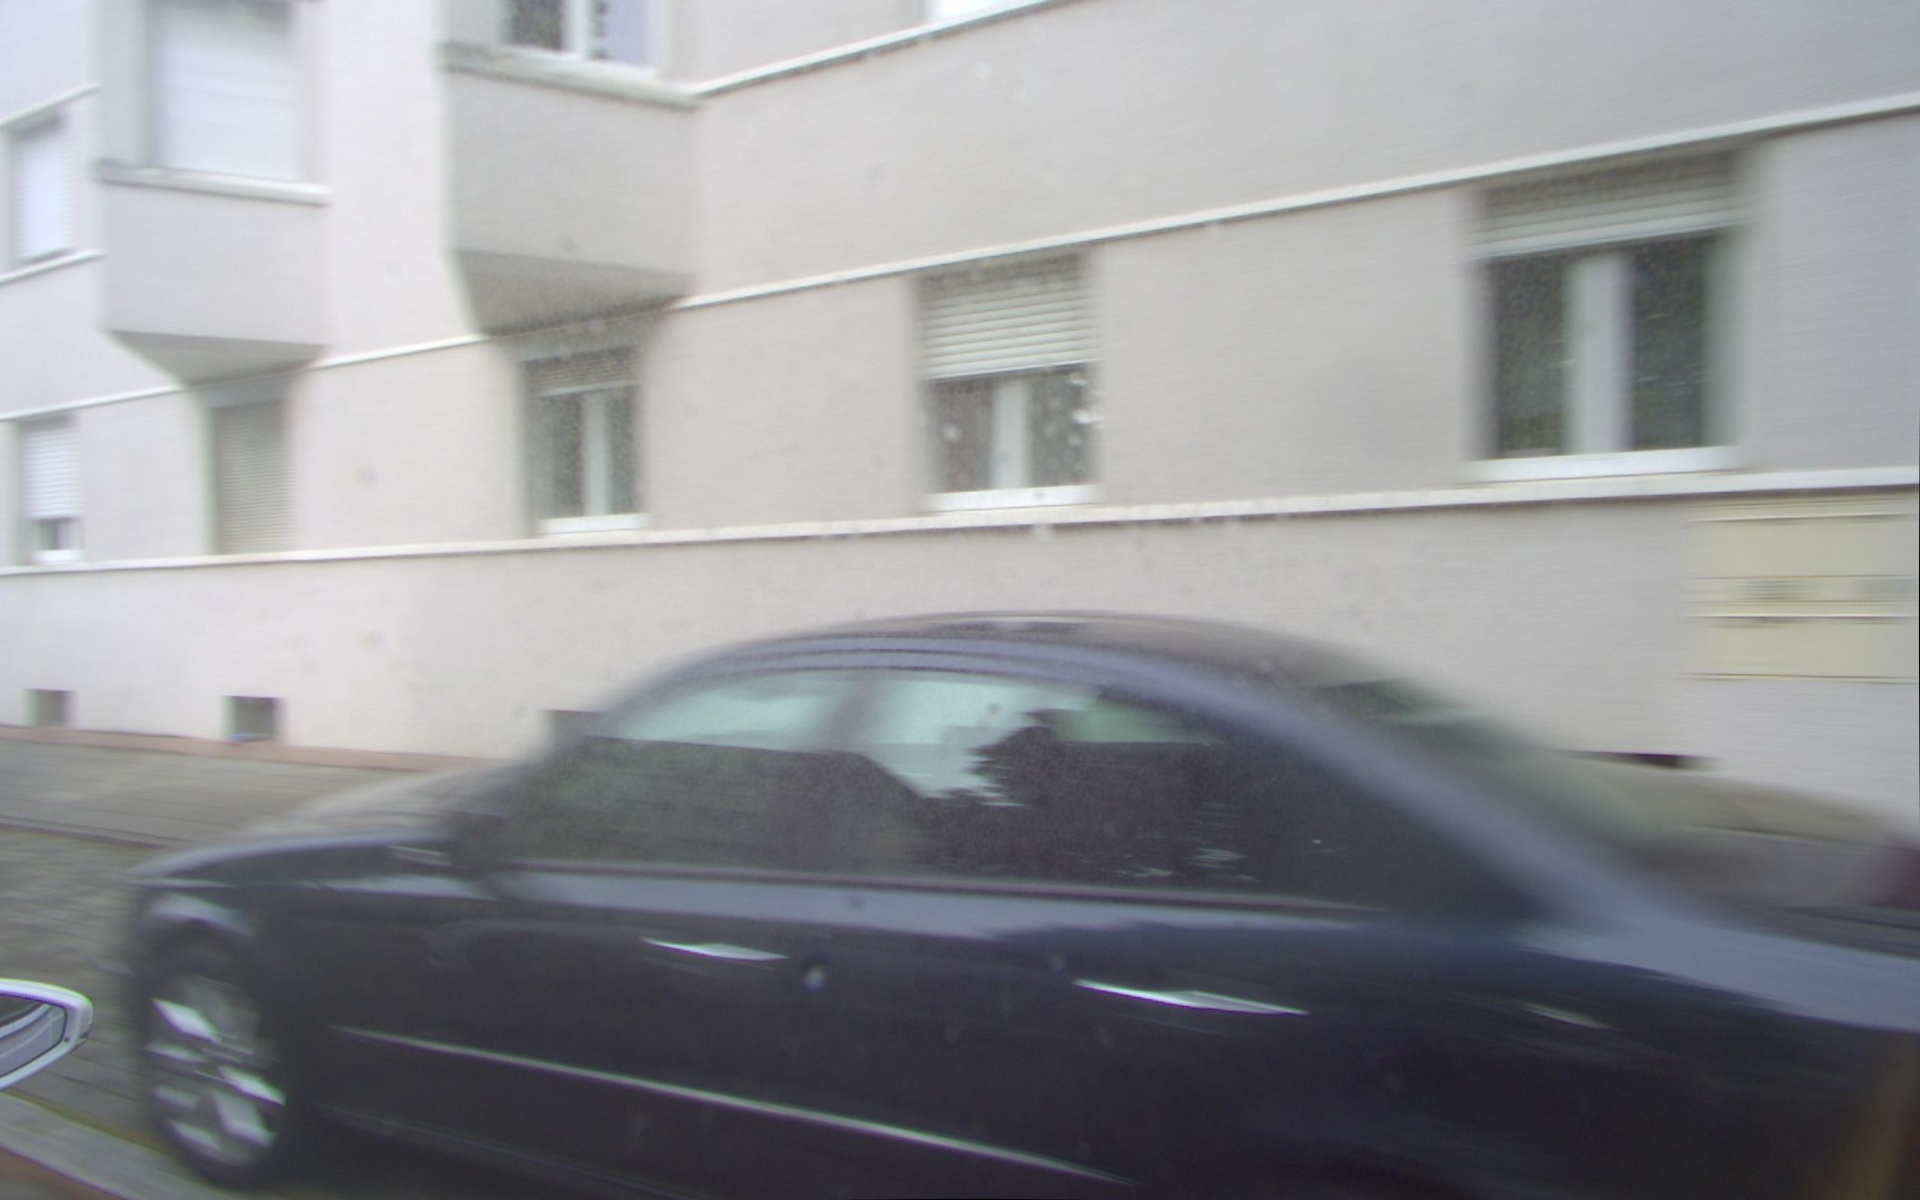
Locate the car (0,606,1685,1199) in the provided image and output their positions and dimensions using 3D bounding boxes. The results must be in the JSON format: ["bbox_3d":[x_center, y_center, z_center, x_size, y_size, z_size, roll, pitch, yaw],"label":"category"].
[{"bbox_3d":[-1.071,0.757,2.932,4.866,1.440,1.745,0,1,23],"label":"car"}]
